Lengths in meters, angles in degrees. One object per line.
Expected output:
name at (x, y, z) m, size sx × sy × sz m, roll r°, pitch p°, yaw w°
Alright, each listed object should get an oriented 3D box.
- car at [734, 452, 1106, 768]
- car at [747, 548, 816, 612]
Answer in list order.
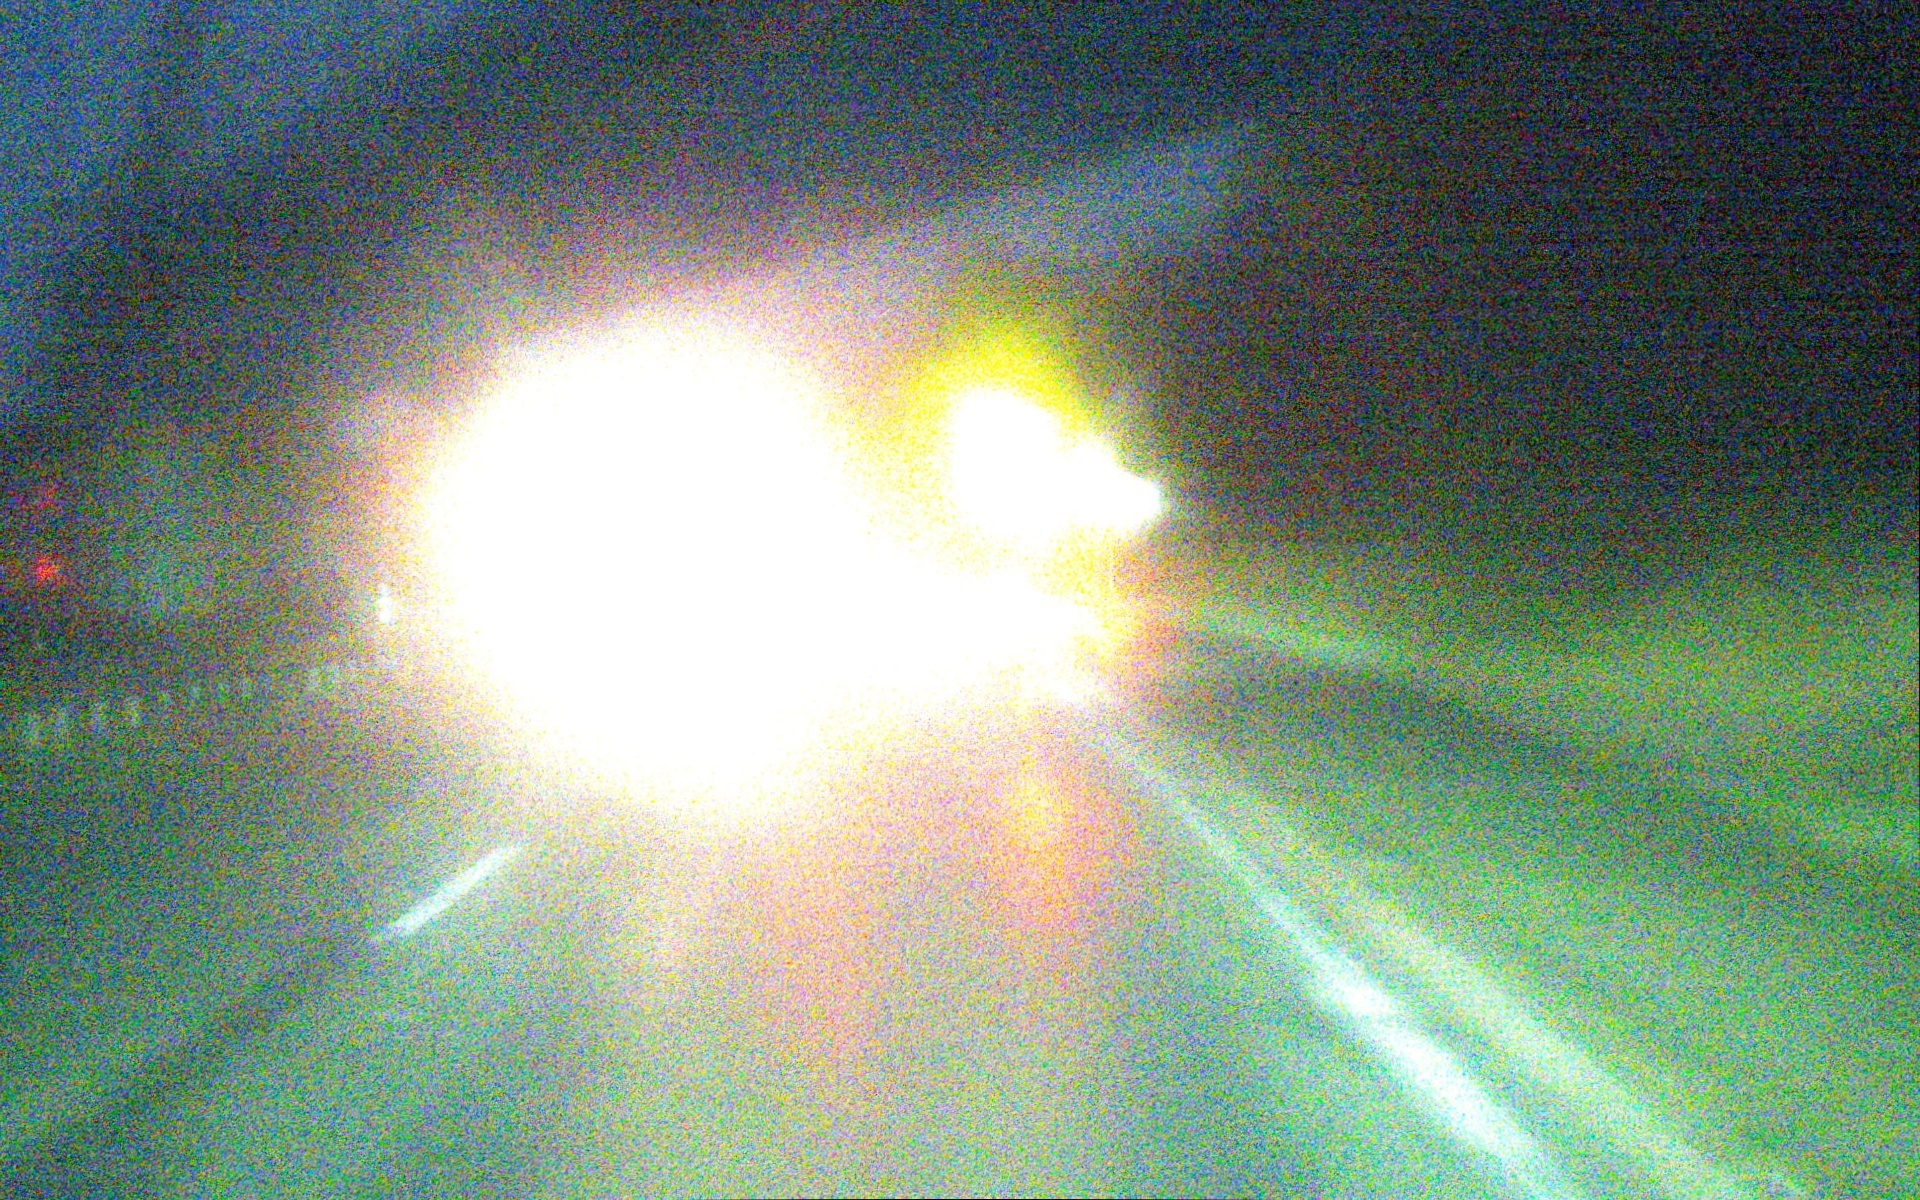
car at (-0.279, 0.028, 28.419) m, size 2.715 × 2.300 × 6.101 m, roll -1°, pitch 1°, yaw 0°
car at (-5.510, -0.611, 105.717) m, size 1.993 × 1.908 × 4.001 m, roll 1°, pitch 0°, yaw -4°
